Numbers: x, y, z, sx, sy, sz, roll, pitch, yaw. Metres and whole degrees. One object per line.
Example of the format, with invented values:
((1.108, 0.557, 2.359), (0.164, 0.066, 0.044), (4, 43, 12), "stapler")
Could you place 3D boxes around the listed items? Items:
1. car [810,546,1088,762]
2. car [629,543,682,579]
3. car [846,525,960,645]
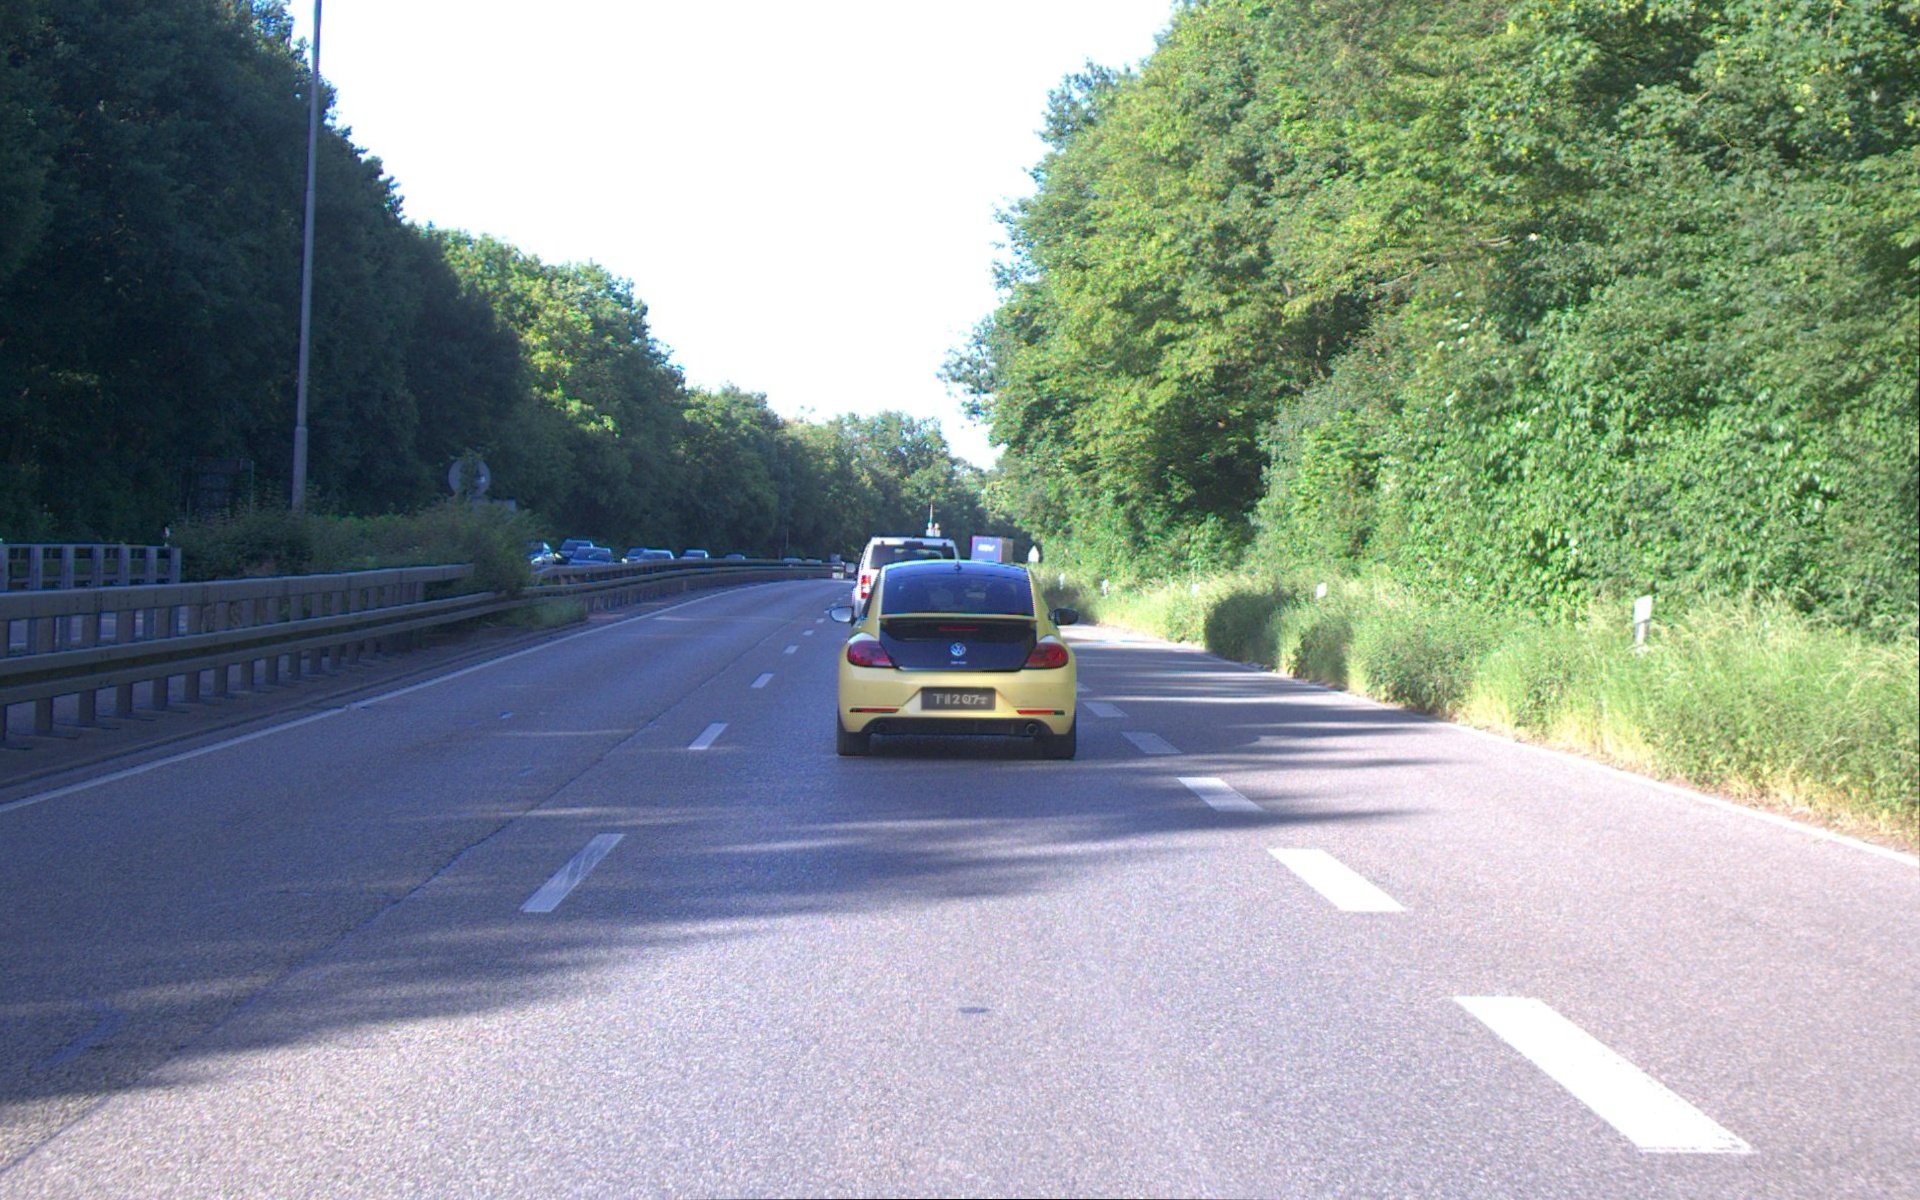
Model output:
((-0.018, 0.377, 26.401), (1.939, 1.503, 3.422), (1, 0, 3), "car")
((-13.701, -1.768, 154.917), (1.993, 1.554, 4.707), (1, 0, -1), "car")
((-0.905, -0.257, 55.111), (1.741, 1.823, 3.422), (1, 1, -1), "car")
